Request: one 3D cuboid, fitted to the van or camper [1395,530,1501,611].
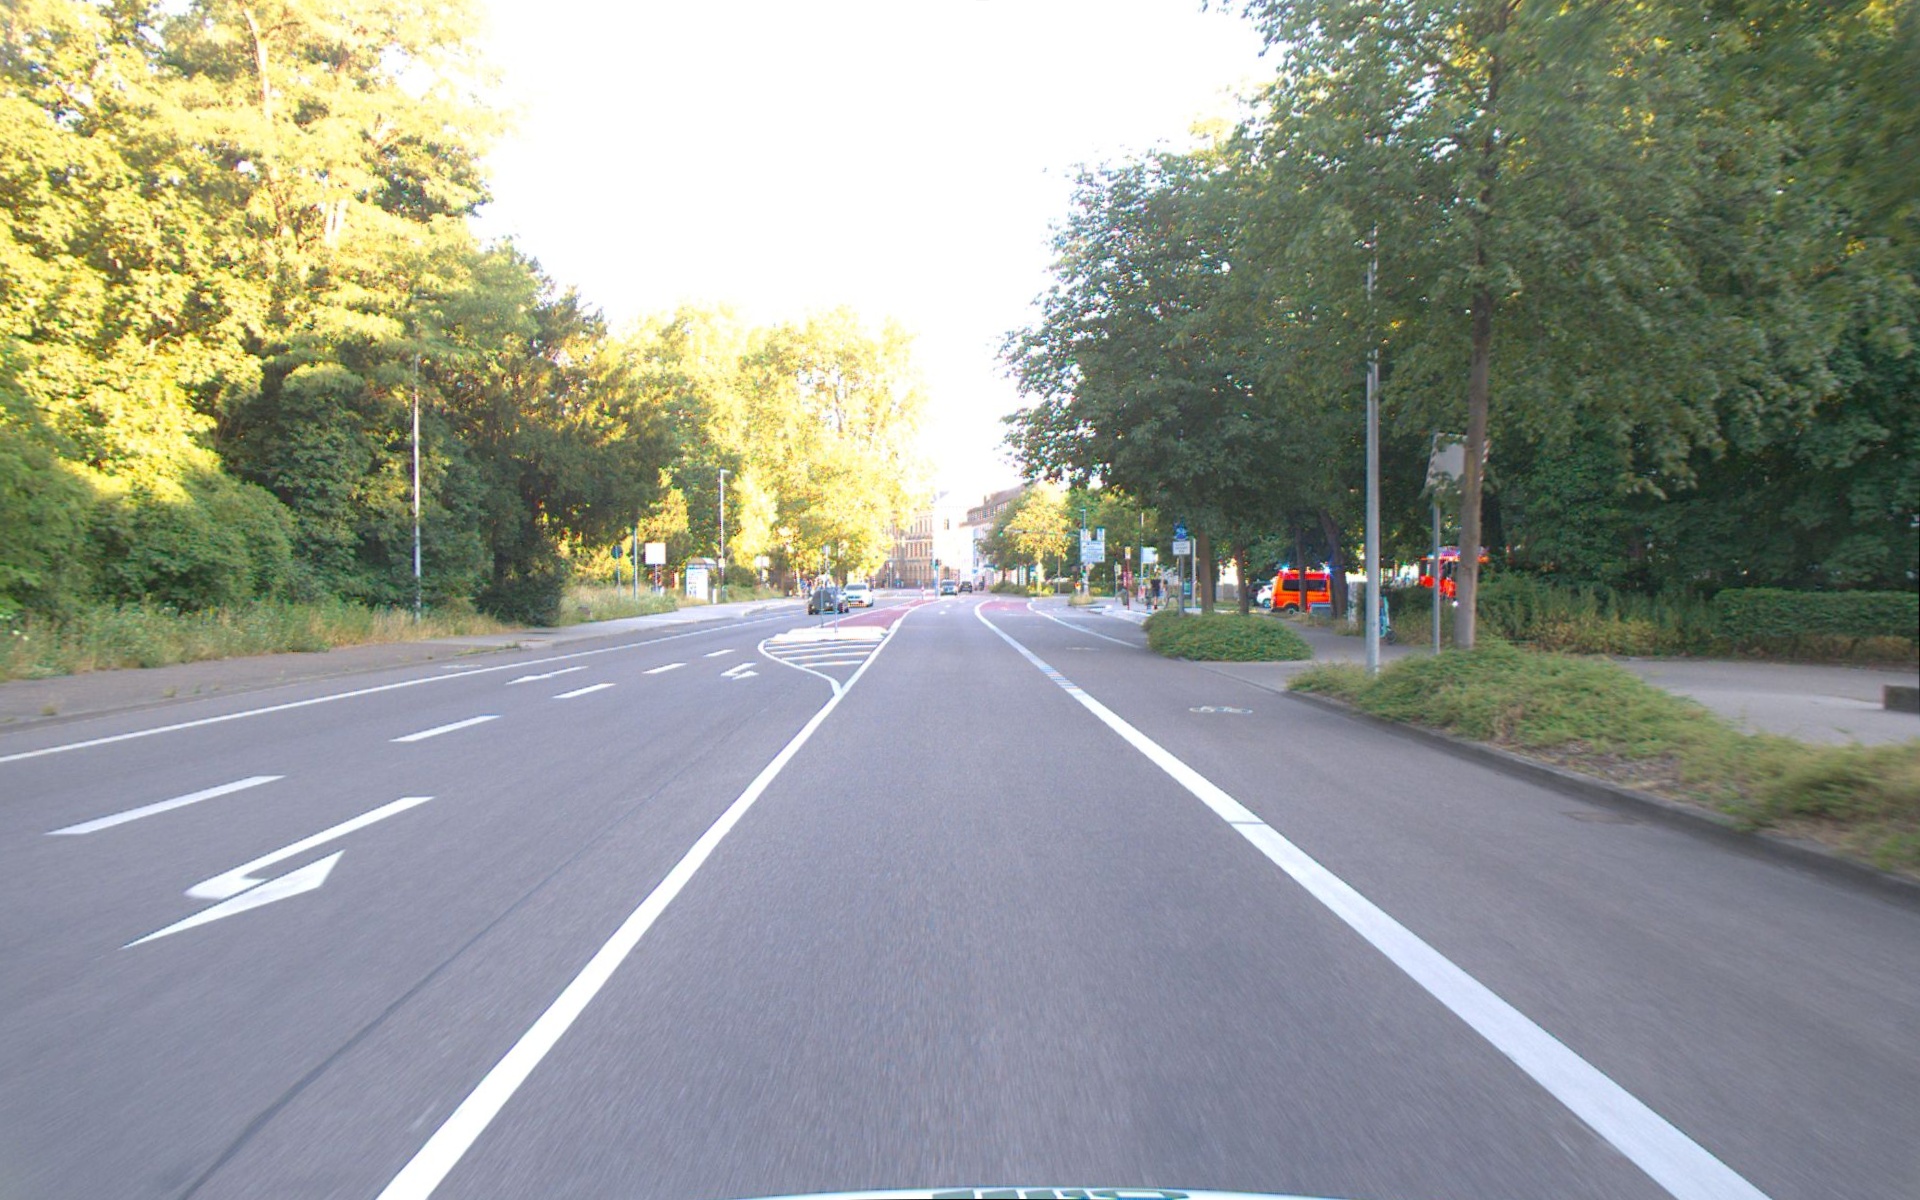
[{"bbox_3d":[21.415,-1.296,73.051,3.364,3.255,8.239,2,1,9],"label":"van or camper"}]

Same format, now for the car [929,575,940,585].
[{"bbox_3d":[-3.615,-2.797,231.334,1.462,1.512,3.491,0,1,0],"label":"car"}]

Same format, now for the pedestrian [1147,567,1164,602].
[{"bbox_3d":[9.820,-0.789,83.171,0.754,1.770,0.731,0,0,0],"label":"pedestrian"}]

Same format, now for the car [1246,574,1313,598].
[{"bbox_3d":[21.906,-0.958,113.567,4.364,1.618,1.717,0,1,7],"label":"car"}]

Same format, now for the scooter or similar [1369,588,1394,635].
[{"bbox_3d":[9.671,0.252,37.949,0.304,1.060,0.980,0,1,0],"label":"scooter or similar"}]

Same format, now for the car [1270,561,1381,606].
[{"bbox_3d":[16.761,-0.776,75.958,4.806,2.024,1.923,0,1,7],"label":"car"}]

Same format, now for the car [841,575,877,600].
[{"bbox_3d":[-6.070,-0.770,99.681,1.760,1.478,4.128,0,1,2],"label":"car"}]

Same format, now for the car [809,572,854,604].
[{"bbox_3d":[-6.264,-0.602,80.901,1.760,1.478,4.128,0,1,2],"label":"car"}]

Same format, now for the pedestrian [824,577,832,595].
[{"bbox_3d":[-10.758,-1.118,134.708,0.569,1.454,0.559,1,1,-9],"label":"pedestrian"}]

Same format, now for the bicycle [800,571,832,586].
[{"bbox_3d":[-11.311,-1.697,129.939,2.410,1.216,0.758,0,1,9],"label":"bicycle"}]

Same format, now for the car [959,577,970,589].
[{"bbox_3d":[0.626,-2.258,218.499,1.462,1.512,3.491,0,1,0],"label":"car"}]

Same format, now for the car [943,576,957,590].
[{"bbox_3d":[-1.026,-1.832,175.951,1.462,1.512,3.491,0,1,0],"label":"car"}]

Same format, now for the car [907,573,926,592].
[{"bbox_3d":[-3.432,-1.411,130.837,1.462,1.512,3.491,0,1,0],"label":"car"}]

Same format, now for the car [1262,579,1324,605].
[{"bbox_3d":[21.086,-0.511,104.771,3.693,1.618,1.717,0,1,7],"label":"car"}]

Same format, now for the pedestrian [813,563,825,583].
[{"bbox_3d":[-11.103,-2.118,129.909,0.774,1.608,0.746,1,1,8],"label":"pedestrian"}]
